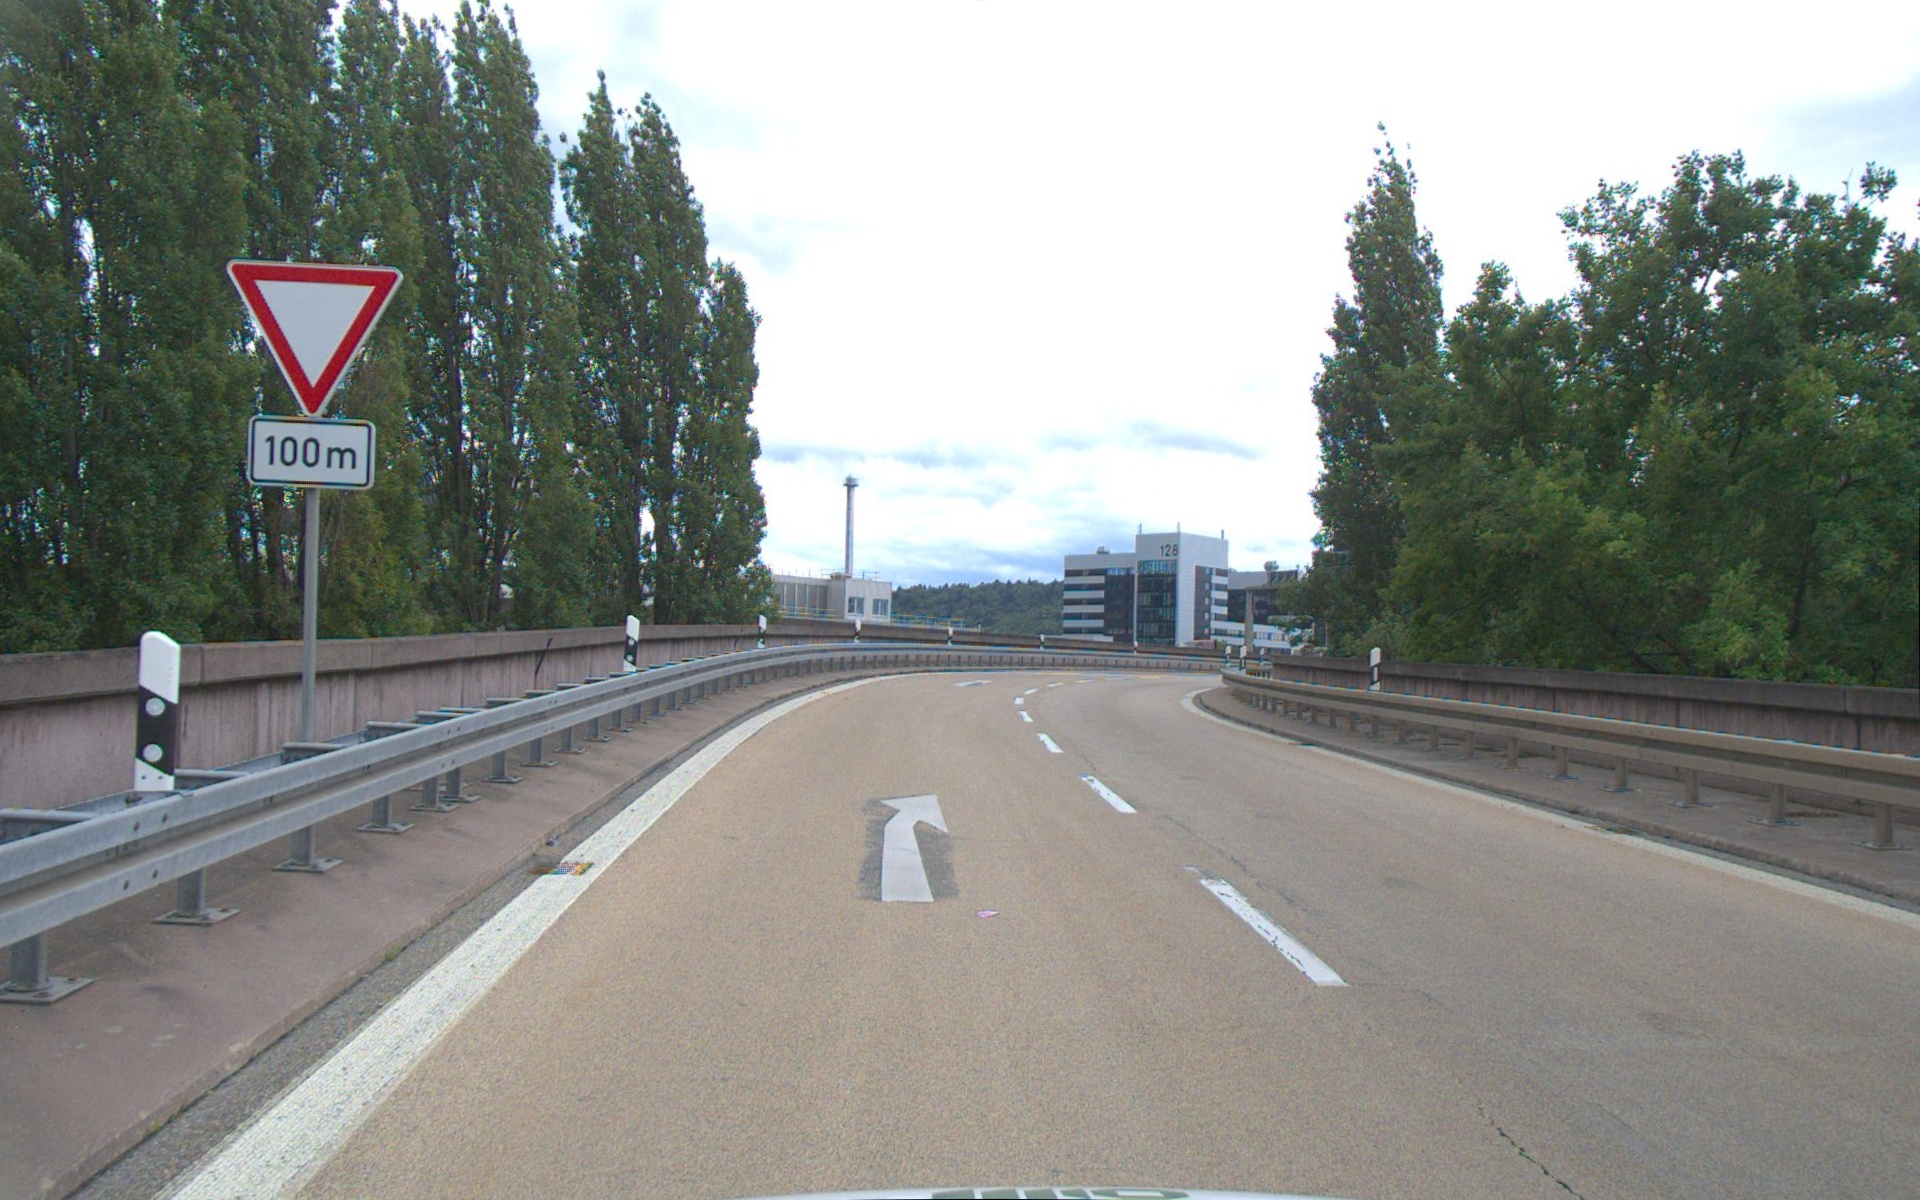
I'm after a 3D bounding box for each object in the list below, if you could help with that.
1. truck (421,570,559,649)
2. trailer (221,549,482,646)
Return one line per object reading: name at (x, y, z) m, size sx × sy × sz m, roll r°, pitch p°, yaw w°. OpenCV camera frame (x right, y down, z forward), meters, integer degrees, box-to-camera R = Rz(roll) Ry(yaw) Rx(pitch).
truck at (-22.782, 0.521, 80.232) m, size 5.881 × 3.491 × 2.751 m, roll 4°, pitch -3°, yaw -30°
trailer at (-28.225, 0.010, 77.063) m, size 10.999 × 3.803 × 2.773 m, roll 4°, pitch -3°, yaw -30°
